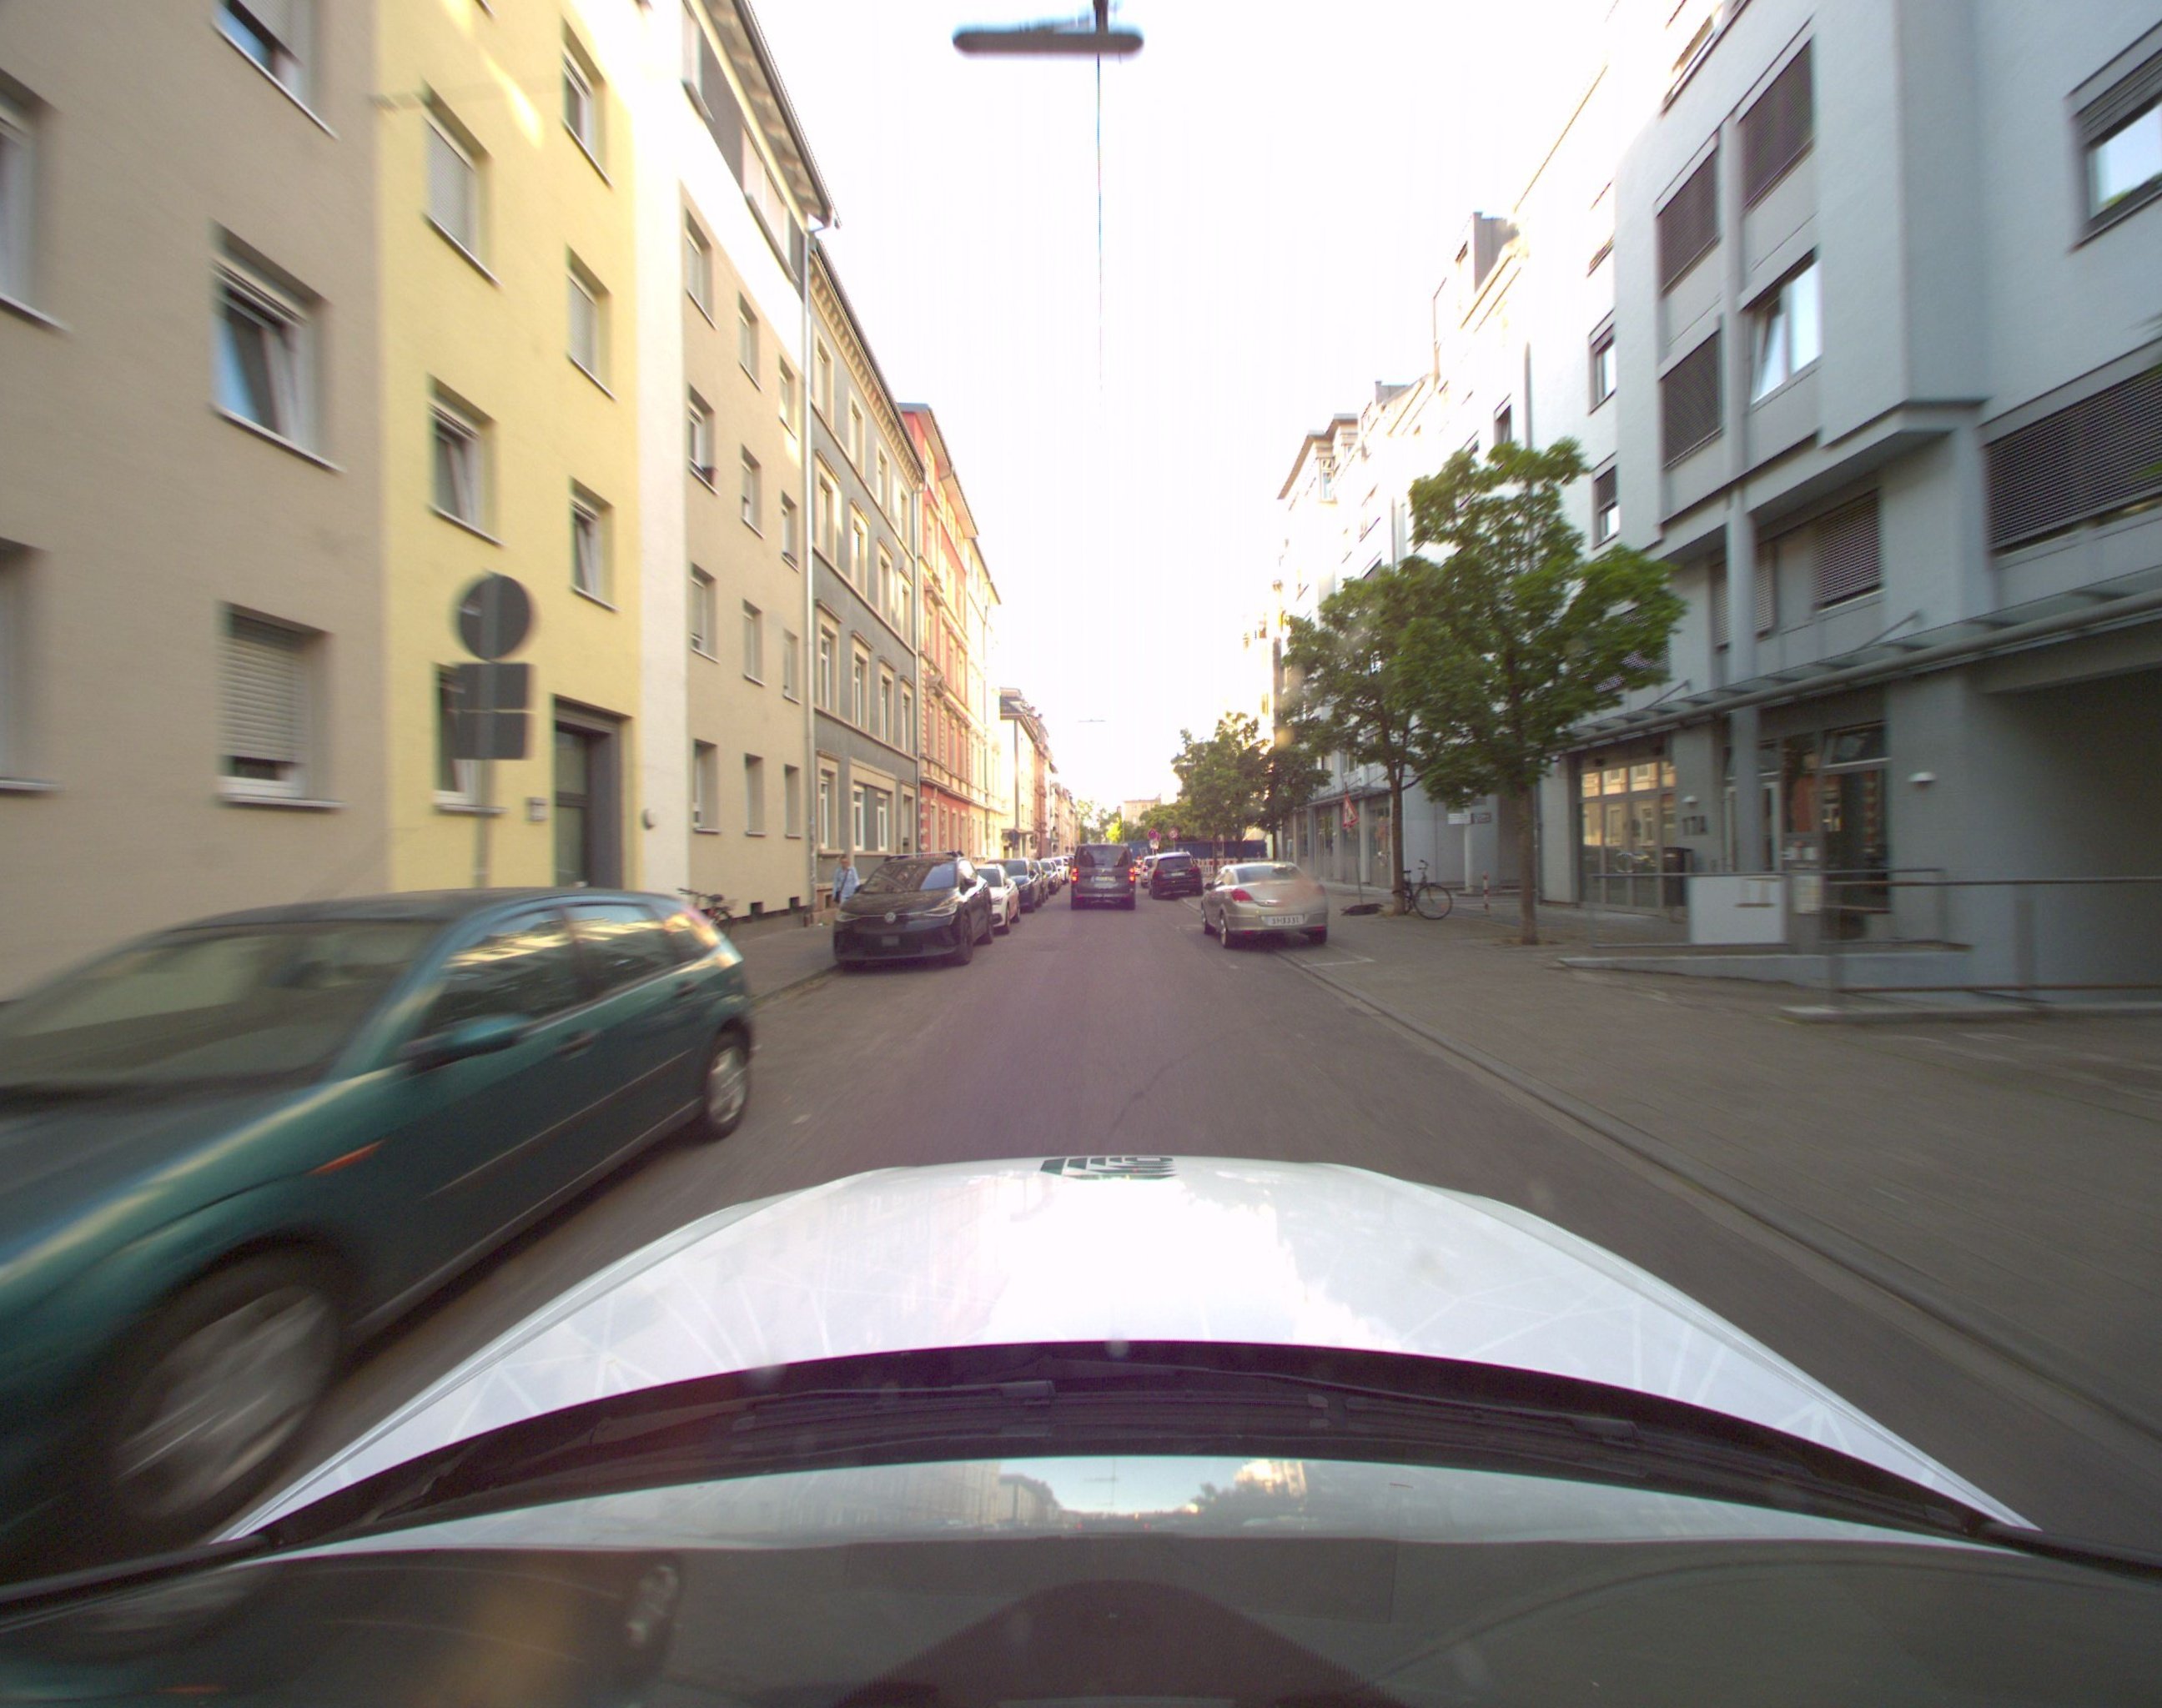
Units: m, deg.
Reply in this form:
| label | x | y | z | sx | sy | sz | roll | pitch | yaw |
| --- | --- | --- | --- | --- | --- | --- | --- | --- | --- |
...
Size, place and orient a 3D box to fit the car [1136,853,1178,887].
| label | x | y | z | sx | sy | sz | roll | pitch | yaw |
| --- | --- | --- | --- | --- | --- | --- | --- | --- | --- |
| car | 3.747 | 0.746 | 40.471 | 1.671 | 1.525 | 3.970 | -3 | 0 | 0 |

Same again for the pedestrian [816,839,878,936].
| label | x | y | z | sx | sy | sz | roll | pitch | yaw |
| --- | --- | --- | --- | --- | --- | --- | --- | --- | --- |
| pedestrian | -4.532 | 0.624 | 15.839 | 0.786 | 1.790 | 1.092 | -3 | 0 | 1 |

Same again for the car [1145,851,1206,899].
| label | x | y | z | sx | sy | sz | roll | pitch | yaw |
| --- | --- | --- | --- | --- | --- | --- | --- | --- | --- |
| car | 3.547 | 0.749 | 31.316 | 1.878 | 1.622 | 4.435 | -3 | 0 | 1 |

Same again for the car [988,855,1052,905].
| label | x | y | z | sx | sy | sz | roll | pitch | yaw |
| --- | --- | --- | --- | --- | --- | --- | --- | --- | --- |
| car | -2.133 | 0.899 | 29.678 | 1.894 | 1.560 | 4.241 | -3 | 0 | 0 |

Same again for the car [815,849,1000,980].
| label | x | y | z | sx | sy | sz | roll | pitch | yaw |
| --- | --- | --- | --- | --- | --- | --- | --- | --- | --- |
| car | -2.569 | 0.803 | 13.259 | 1.914 | 1.663 | 4.469 | -3 | 0 | 0 |

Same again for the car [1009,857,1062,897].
| label | x | y | z | sx | sy | sz | roll | pitch | yaw |
| --- | --- | --- | --- | --- | --- | --- | --- | --- | --- |
| car | -1.904 | 0.922 | 35.149 | 1.914 | 1.484 | 4.267 | -3 | 0 | 0 |

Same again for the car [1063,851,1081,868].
| label | x | y | z | sx | sy | sz | roll | pitch | yaw |
| --- | --- | --- | --- | --- | --- | --- | --- | --- | --- |
| car | -1.043 | 0.644 | 94.519 | 1.887 | 1.846 | 4.345 | 4 | -1 | -2 |

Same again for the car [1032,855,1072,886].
| label | x | y | z | sx | sy | sz | roll | pitch | yaw |
| --- | --- | --- | --- | --- | --- | --- | --- | --- | --- |
| car | -1.599 | 0.899 | 45.974 | 1.914 | 1.507 | 4.268 | -3 | 0 | 1 |

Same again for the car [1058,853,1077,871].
| label | x | y | z | sx | sy | sz | roll | pitch | yaw |
| --- | --- | --- | --- | --- | --- | --- | --- | --- | --- |
| car | -1.448 | 0.855 | 85.148 | 1.887 | 1.719 | 3.751 | 4 | -1 | -2 |

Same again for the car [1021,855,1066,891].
| label | x | y | z | sx | sy | sz | roll | pitch | yaw |
| --- | --- | --- | --- | --- | --- | --- | --- | --- | --- |
| car | -1.811 | 0.893 | 40.572 | 1.914 | 1.560 | 4.267 | -3 | 0 | 0 |

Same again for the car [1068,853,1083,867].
| label | x | y | z | sx | sy | sz | roll | pitch | yaw |
| --- | --- | --- | --- | --- | --- | --- | --- | --- | --- |
| car | -0.737 | 0.890 | 114.702 | 1.887 | 1.846 | 4.345 | 4 | -1 | -2 |

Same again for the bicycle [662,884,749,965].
| label | x | y | z | sx | sy | sz | roll | pitch | yaw |
| --- | --- | --- | --- | --- | --- | --- | --- | --- | --- |
| bicycle | -5.569 | 1.012 | 12.187 | 0.449 | 1.074 | 1.752 | 0 | 0 | 2 |

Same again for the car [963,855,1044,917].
| label | x | y | z | sx | sy | sz | roll | pitch | yaw |
| --- | --- | --- | --- | --- | --- | --- | --- | --- | --- |
| car | -2.208 | 0.876 | 24.331 | 1.914 | 1.560 | 4.267 | -3 | 0 | 0 |

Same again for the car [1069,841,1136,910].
| label | x | y | z | sx | sy | sz | roll | pitch | yaw |
| --- | --- | --- | --- | --- | --- | --- | --- | --- | --- |
| car | 0.668 | 0.620 | 24.670 | 1.858 | 1.886 | 4.237 | 0 | -1 | 2 |

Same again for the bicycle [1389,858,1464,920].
| label | x | y | z | sx | sy | sz | roll | pitch | yaw |
| --- | --- | --- | --- | --- | --- | --- | --- | --- | --- |
| bicycle | 7.045 | 0.692 | 16.690 | 0.520 | 1.168 | 1.735 | -3 | 0 | -9 |

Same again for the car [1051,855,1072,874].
| label | x | y | z | sx | sy | sz | roll | pitch | yaw |
| --- | --- | --- | --- | --- | --- | --- | --- | --- | --- |
| car | -1.651 | 0.909 | 69.076 | 1.652 | 1.460 | 3.415 | 4 | -1 | -2 |

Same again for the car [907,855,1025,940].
| label | x | y | z | sx | sy | sz | roll | pitch | yaw |
| --- | --- | --- | --- | --- | --- | --- | --- | --- | --- |
| car | -2.416 | 0.864 | 18.228 | 1.914 | 1.560 | 4.267 | -3 | 0 | 0 |

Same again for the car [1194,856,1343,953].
| label | x | y | z | sx | sy | sz | roll | pitch | yaw |
| --- | --- | --- | --- | --- | --- | --- | --- | --- | --- |
| car | 3.218 | 0.787 | 14.823 | 1.757 | 1.429 | 4.346 | -3 | 0 | 1 |

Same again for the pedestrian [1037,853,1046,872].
| label | x | y | z | sx | sy | sz | roll | pitch | yaw |
| --- | --- | --- | --- | --- | --- | --- | --- | --- | --- |
| pedestrian | -3.409 | 0.764 | 71.052 | 0.738 | 1.664 | 0.703 | -1 | 0 | -3 |

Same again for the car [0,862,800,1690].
| label | x | y | z | sx | sy | sz | roll | pitch | yaw |
| --- | --- | --- | --- | --- | --- | --- | --- | --- | --- |
| car | -2.868 | 0.835 | 3.334 | 1.773 | 1.488 | 4.421 | -3 | 0 | 1 |
